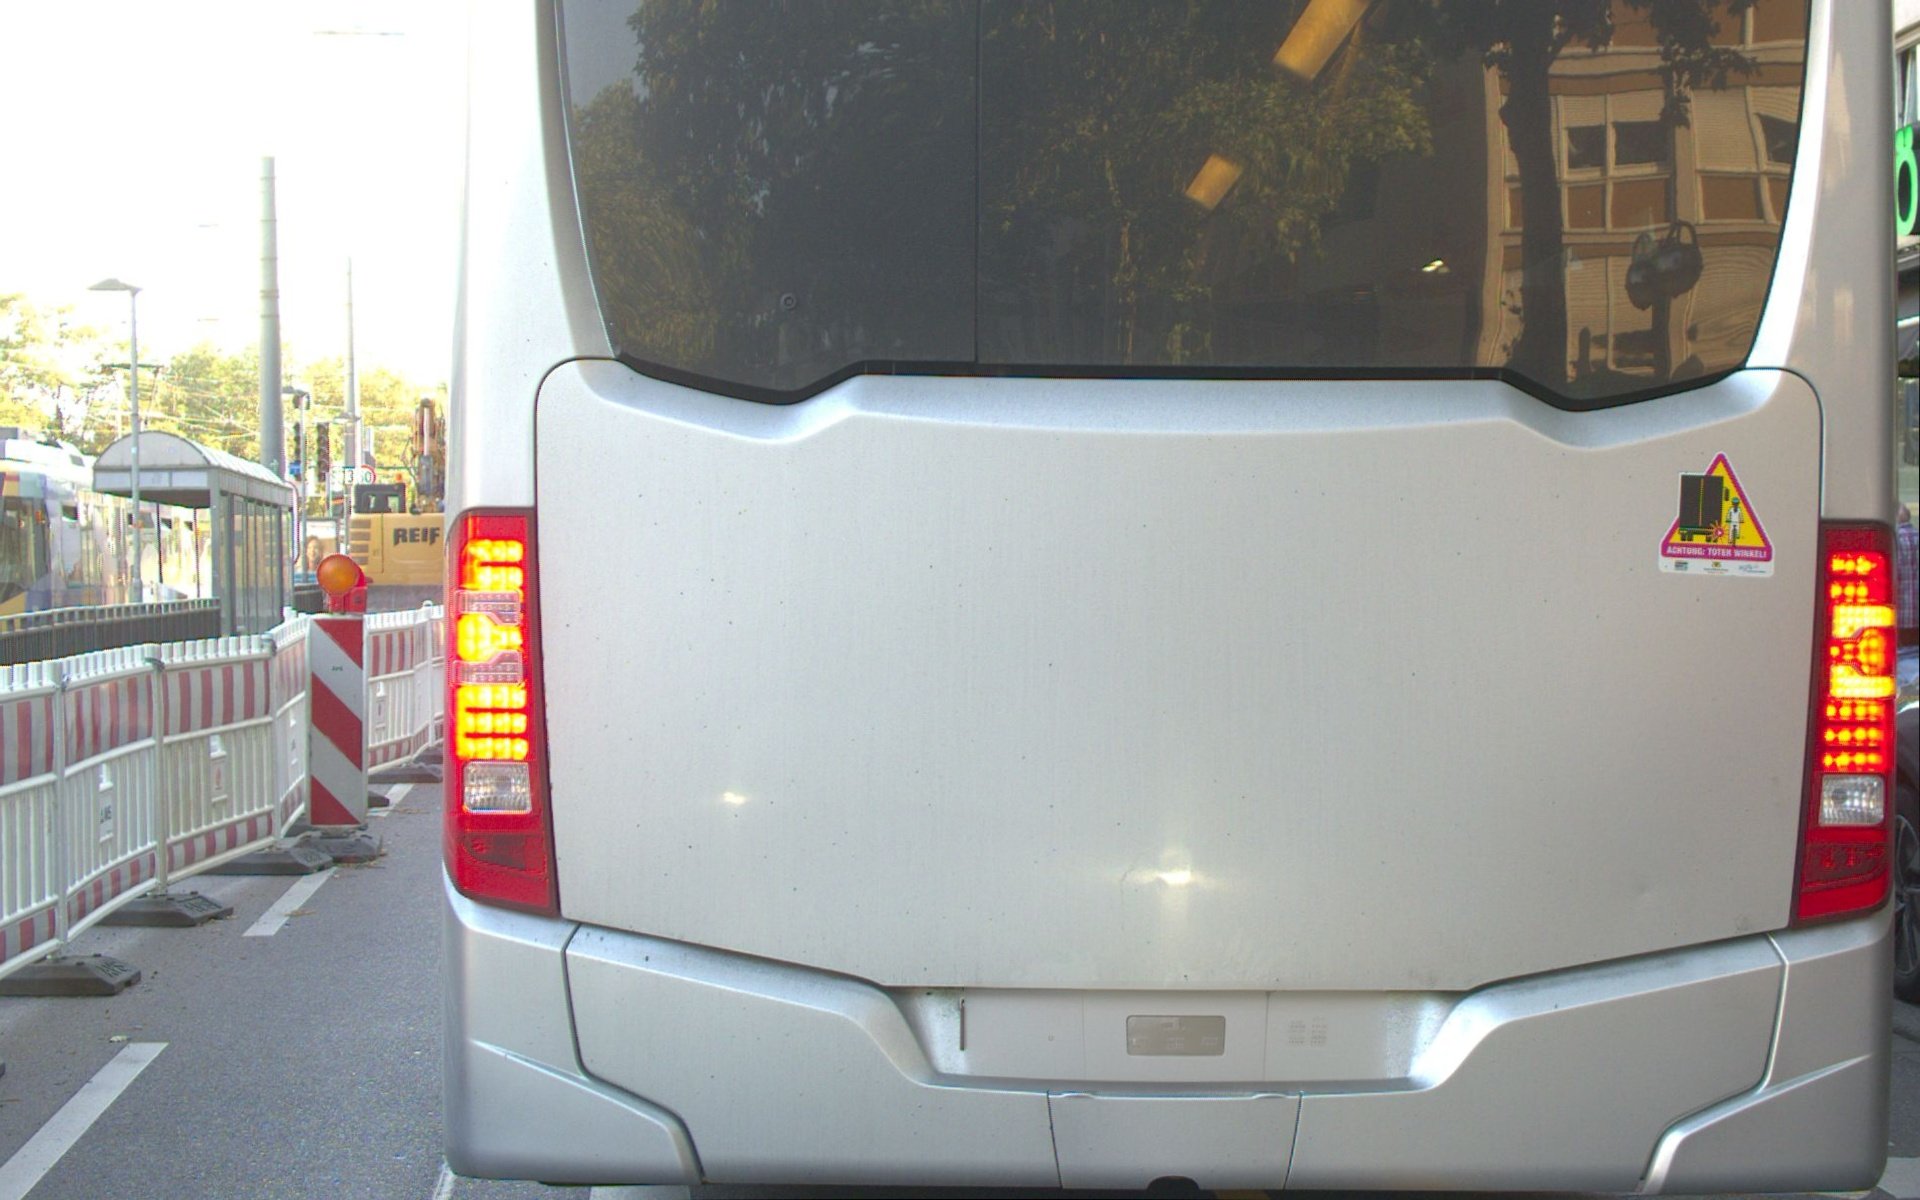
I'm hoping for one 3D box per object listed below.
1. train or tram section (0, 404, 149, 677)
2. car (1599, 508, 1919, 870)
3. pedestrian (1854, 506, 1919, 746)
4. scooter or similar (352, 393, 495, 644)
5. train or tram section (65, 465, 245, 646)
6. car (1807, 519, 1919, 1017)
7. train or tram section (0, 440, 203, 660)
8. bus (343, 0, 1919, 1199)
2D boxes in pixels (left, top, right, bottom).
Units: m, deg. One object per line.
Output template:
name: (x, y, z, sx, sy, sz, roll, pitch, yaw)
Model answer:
train or tram section: (-13.997, -0.843, 50.162, 2.686, 3.521, 11.774, 1, 1, -6)
car: (4.916, 0.340, 17.788, 1.993, 1.576, 4.369, -3, 1, -5)
pedestrian: (6.699, 0.173, 24.276, 0.664, 1.661, 0.600, -2, 0, 16)
scooter or similar: (-9.990, -1.494, 64.399, 2.468, 4.455, 5.974, -1, 1, -8)
train or tram section: (-16.994, -0.932, 73.249, 2.686, 3.521, 11.585, 1, 1, -8)
car: (4.139, 0.521, 9.762, 1.993, 1.576, 4.369, -3, 1, -5)
train or tram section: (-15.458, -0.879, 61.765, 2.686, 3.546, 11.585, 1, 1, -8)
bus: (0.292, -0.199, 9.525, 2.611, 3.115, 7.993, 1, 1, -1)
